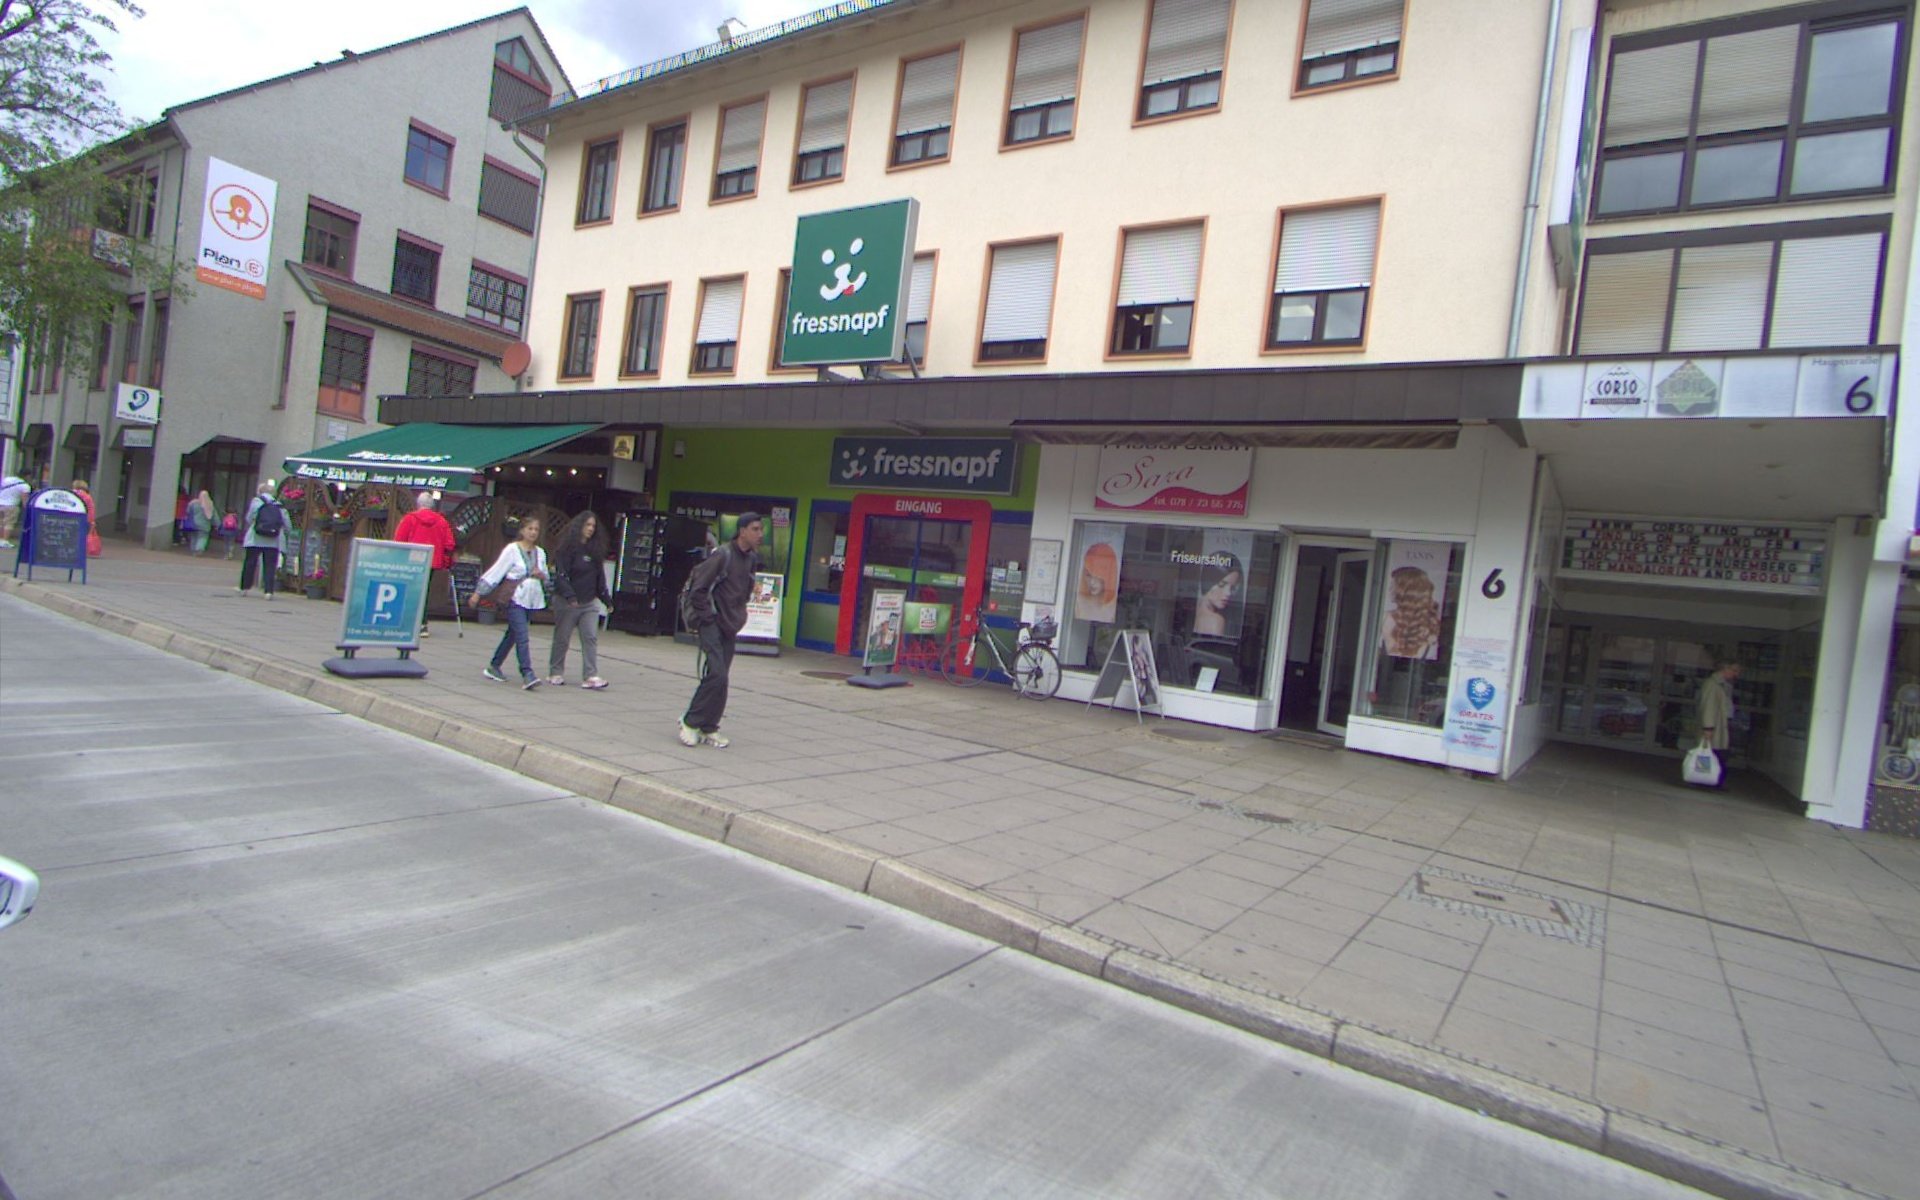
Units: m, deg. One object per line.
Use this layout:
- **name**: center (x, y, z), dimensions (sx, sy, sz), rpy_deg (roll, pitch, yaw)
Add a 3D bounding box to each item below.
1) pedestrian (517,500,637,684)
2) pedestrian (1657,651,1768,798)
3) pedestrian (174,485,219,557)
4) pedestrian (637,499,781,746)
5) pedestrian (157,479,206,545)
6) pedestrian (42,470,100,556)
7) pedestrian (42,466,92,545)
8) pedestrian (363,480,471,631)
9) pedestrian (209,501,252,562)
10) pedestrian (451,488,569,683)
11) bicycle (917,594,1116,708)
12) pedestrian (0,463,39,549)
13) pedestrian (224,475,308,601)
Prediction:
- **pedestrian**: center (-3.664, -0.069, 9.651), dimensions (0.605, 1.655, 0.719), rpy_deg (7, 2, 31)
- **pedestrian**: center (9.335, 1.518, 12.523), dimensions (0.839, 1.655, 0.688), rpy_deg (8, 2, 31)
- **pedestrian**: center (-18.786, -1.952, 24.764), dimensions (0.605, 1.655, 0.586), rpy_deg (8, 1, 35)
- **pedestrian**: center (-1.851, 0.164, 7.427), dimensions (0.605, 1.699, 0.612), rpy_deg (8, 2, 36)
- **pedestrian**: center (-21.334, -2.410, 27.570), dimensions (0.604, 1.655, 0.727), rpy_deg (8, 1, 25)
- **pedestrian**: center (-17.723, -1.725, 20.065), dimensions (0.669, 1.586, 0.487), rpy_deg (8, 1, -36)
- **pedestrian**: center (-20.154, -2.131, 22.708), dimensions (0.579, 1.654, 0.613), rpy_deg (8, 1, 38)
- **pedestrian**: center (-6.694, -0.537, 12.413), dimensions (0.768, 1.765, 0.795), rpy_deg (6, 2, 28)
- **pedestrian**: center (-18.135, -1.704, 25.011), dimensions (0.605, 1.392, 0.586), rpy_deg (8, 1, 36)
- **pedestrian**: center (-4.058, -0.124, 9.085), dimensions (0.605, 1.655, 0.613), rpy_deg (7, 2, 31)
- **bicycle**: center (0.669, 0.607, 12.546), dimensions (2.312, 1.076, 0.741), rpy_deg (8, 2, 32)
- **pedestrian**: center (-19.436, -1.935, 20.428), dimensions (0.779, 1.655, 0.615), rpy_deg (8, 2, 12)
- **pedestrian**: center (-10.272, -0.914, 14.891), dimensions (0.768, 1.765, 0.683), rpy_deg (6, 2, 29)
